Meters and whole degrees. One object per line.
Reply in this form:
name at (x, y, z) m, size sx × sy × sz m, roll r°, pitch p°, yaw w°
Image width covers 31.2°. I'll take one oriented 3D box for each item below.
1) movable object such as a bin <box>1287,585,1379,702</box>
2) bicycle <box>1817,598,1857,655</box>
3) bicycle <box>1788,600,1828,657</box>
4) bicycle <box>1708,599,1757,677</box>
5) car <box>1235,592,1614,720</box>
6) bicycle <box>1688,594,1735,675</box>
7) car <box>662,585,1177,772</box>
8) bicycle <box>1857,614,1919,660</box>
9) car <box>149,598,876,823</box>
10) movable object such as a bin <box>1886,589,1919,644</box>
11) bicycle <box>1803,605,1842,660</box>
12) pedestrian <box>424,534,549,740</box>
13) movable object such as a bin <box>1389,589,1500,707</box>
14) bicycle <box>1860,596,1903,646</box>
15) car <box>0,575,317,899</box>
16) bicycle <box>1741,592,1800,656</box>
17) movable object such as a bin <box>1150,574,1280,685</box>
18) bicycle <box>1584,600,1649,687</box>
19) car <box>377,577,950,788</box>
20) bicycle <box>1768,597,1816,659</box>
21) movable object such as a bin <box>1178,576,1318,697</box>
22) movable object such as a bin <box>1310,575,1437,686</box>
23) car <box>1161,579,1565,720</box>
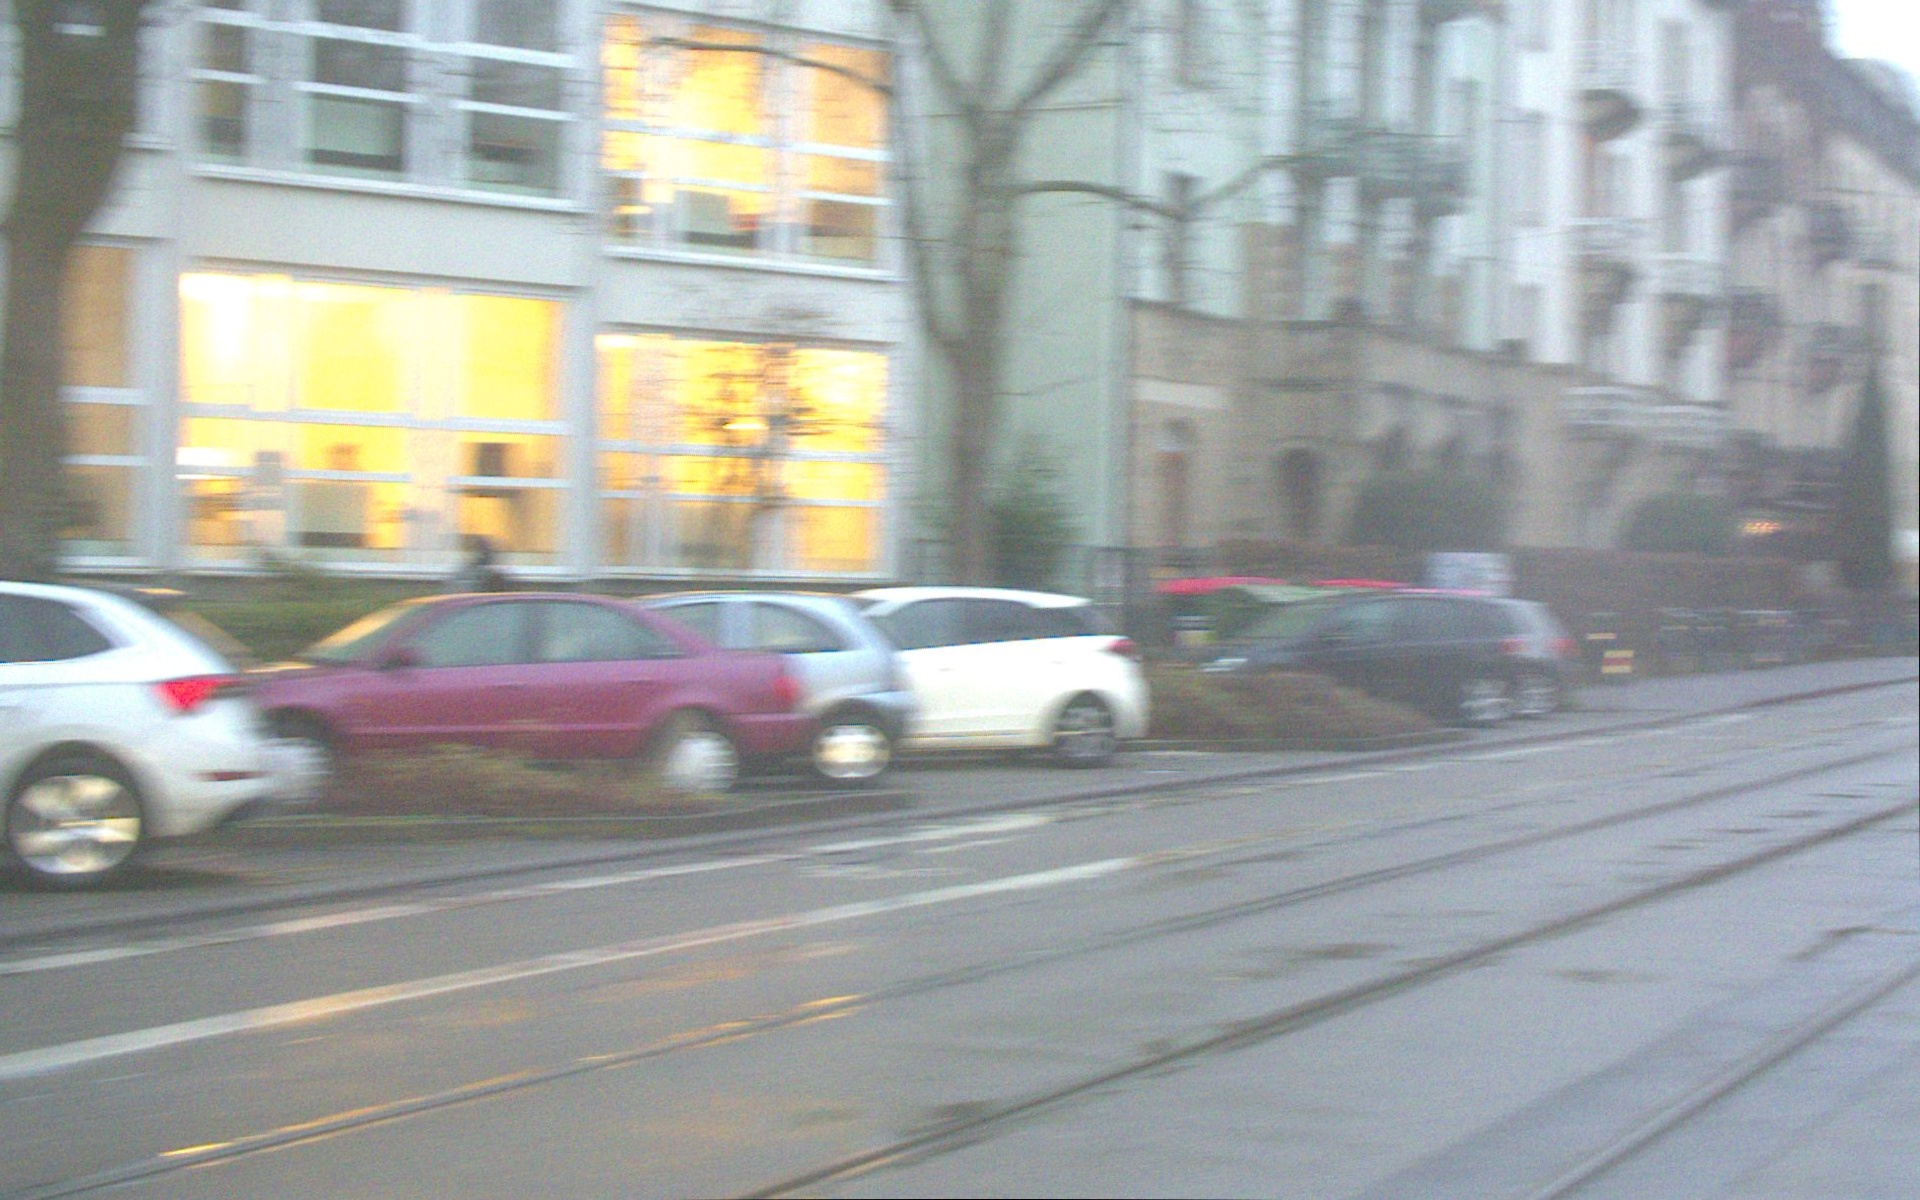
movable object such as a bin at (4.733, 0.538, 43.714) m, size 1.089 × 1.445 × 1.111 m, roll 1°, pitch 1°, yaw 3°
bicycle at (17.262, 0.515, 67.664) m, size 0.487 × 1.096 × 1.928 m, roll 0°, pitch 0°, yaw 23°
bicycle at (15.803, 0.530, 64.042) m, size 0.692 × 1.027 × 1.595 m, roll 1°, pitch -1°, yaw 15°
bicycle at (12.511, 0.608, 55.648) m, size 0.692 × 1.208 × 1.595 m, roll 1°, pitch 1°, yaw 15°
car at (5.442, 0.638, 40.344) m, size 3.986 × 1.423 × 1.849 m, roll 0°, pitch 1°, yaw -19°
bicycle at (11.720, 0.532, 53.574) m, size 0.629 × 1.208 × 1.595 m, roll 1°, pitch 1°, yaw 15°
car at (-0.340, 0.612, 28.128) m, size 3.839 × 1.418 × 1.737 m, roll 0°, pitch 1°, yaw -21°
bicycle at (22.582, 0.889, 82.908) m, size 1.806 × 1.077 × 0.616 m, roll 1°, pitch 1°, yaw 18°
car at (-2.882, 0.665, 22.204) m, size 4.332 × 1.347 × 1.750 m, roll 0°, pitch 0°, yaw -24°
movable object such as a bin at (27.247, 0.468, 98.025) m, size 1.411 × 1.525 × 1.363 m, roll 1°, pitch 1°, yaw 24°
bicycle at (16.551, 0.624, 65.932) m, size 0.692 × 1.027 × 1.595 m, roll 1°, pitch 0°, yaw 15°
pedestrian at (-3.932, 0.295, 28.604) m, size 0.597 × 1.671 × 0.972 m, roll 1°, pitch 1°, yaw 24°
movable object such as a bin at (6.135, 0.601, 43.586) m, size 1.263 × 1.445 × 1.111 m, roll 1°, pitch 1°, yaw 2°
bicycle at (19.371, 0.436, 72.250) m, size 0.626 × 1.014 × 1.803 m, roll 0°, pitch 0°, yaw 22°
car at (-5.058, 0.609, 16.036) m, size 3.986 × 1.439 × 1.737 m, roll 0°, pitch 0°, yaw -9°
bicycle at (14.172, 0.422, 60.078) m, size 0.693 × 1.027 × 1.592 m, roll 0°, pitch -4°, yaw 25°
movable object such as a bin at (3.422, 0.381, 46.053) m, size 1.265 × 1.445 × 1.323 m, roll 1°, pitch 1°, yaw 31°
bicycle at (9.453, 0.613, 49.480) m, size 0.693 × 1.208 × 1.595 m, roll 1°, pitch 1°, yaw 19°
car at (-2.192, 0.587, 24.992) m, size 3.986 × 1.458 × 1.737 m, roll 0°, pitch 0°, yaw -11°
bicycle at (14.968, 0.510, 61.836) m, size 0.693 × 1.027 × 1.595 m, roll 1°, pitch -3°, yaw 19°
movable object such as a bin at (3.576, 0.441, 42.635) m, size 1.265 × 1.445 × 1.323 m, roll 1°, pitch 1°, yaw 31°
movable object such as a bin at (5.597, 0.396, 46.472) m, size 1.265 × 1.445 × 1.323 m, roll 1°, pitch 1°, yaw 31°
car at (4.411, 0.542, 37.723) m, size 3.986 × 1.465 × 1.832 m, roll 1°, pitch 1°, yaw -21°
